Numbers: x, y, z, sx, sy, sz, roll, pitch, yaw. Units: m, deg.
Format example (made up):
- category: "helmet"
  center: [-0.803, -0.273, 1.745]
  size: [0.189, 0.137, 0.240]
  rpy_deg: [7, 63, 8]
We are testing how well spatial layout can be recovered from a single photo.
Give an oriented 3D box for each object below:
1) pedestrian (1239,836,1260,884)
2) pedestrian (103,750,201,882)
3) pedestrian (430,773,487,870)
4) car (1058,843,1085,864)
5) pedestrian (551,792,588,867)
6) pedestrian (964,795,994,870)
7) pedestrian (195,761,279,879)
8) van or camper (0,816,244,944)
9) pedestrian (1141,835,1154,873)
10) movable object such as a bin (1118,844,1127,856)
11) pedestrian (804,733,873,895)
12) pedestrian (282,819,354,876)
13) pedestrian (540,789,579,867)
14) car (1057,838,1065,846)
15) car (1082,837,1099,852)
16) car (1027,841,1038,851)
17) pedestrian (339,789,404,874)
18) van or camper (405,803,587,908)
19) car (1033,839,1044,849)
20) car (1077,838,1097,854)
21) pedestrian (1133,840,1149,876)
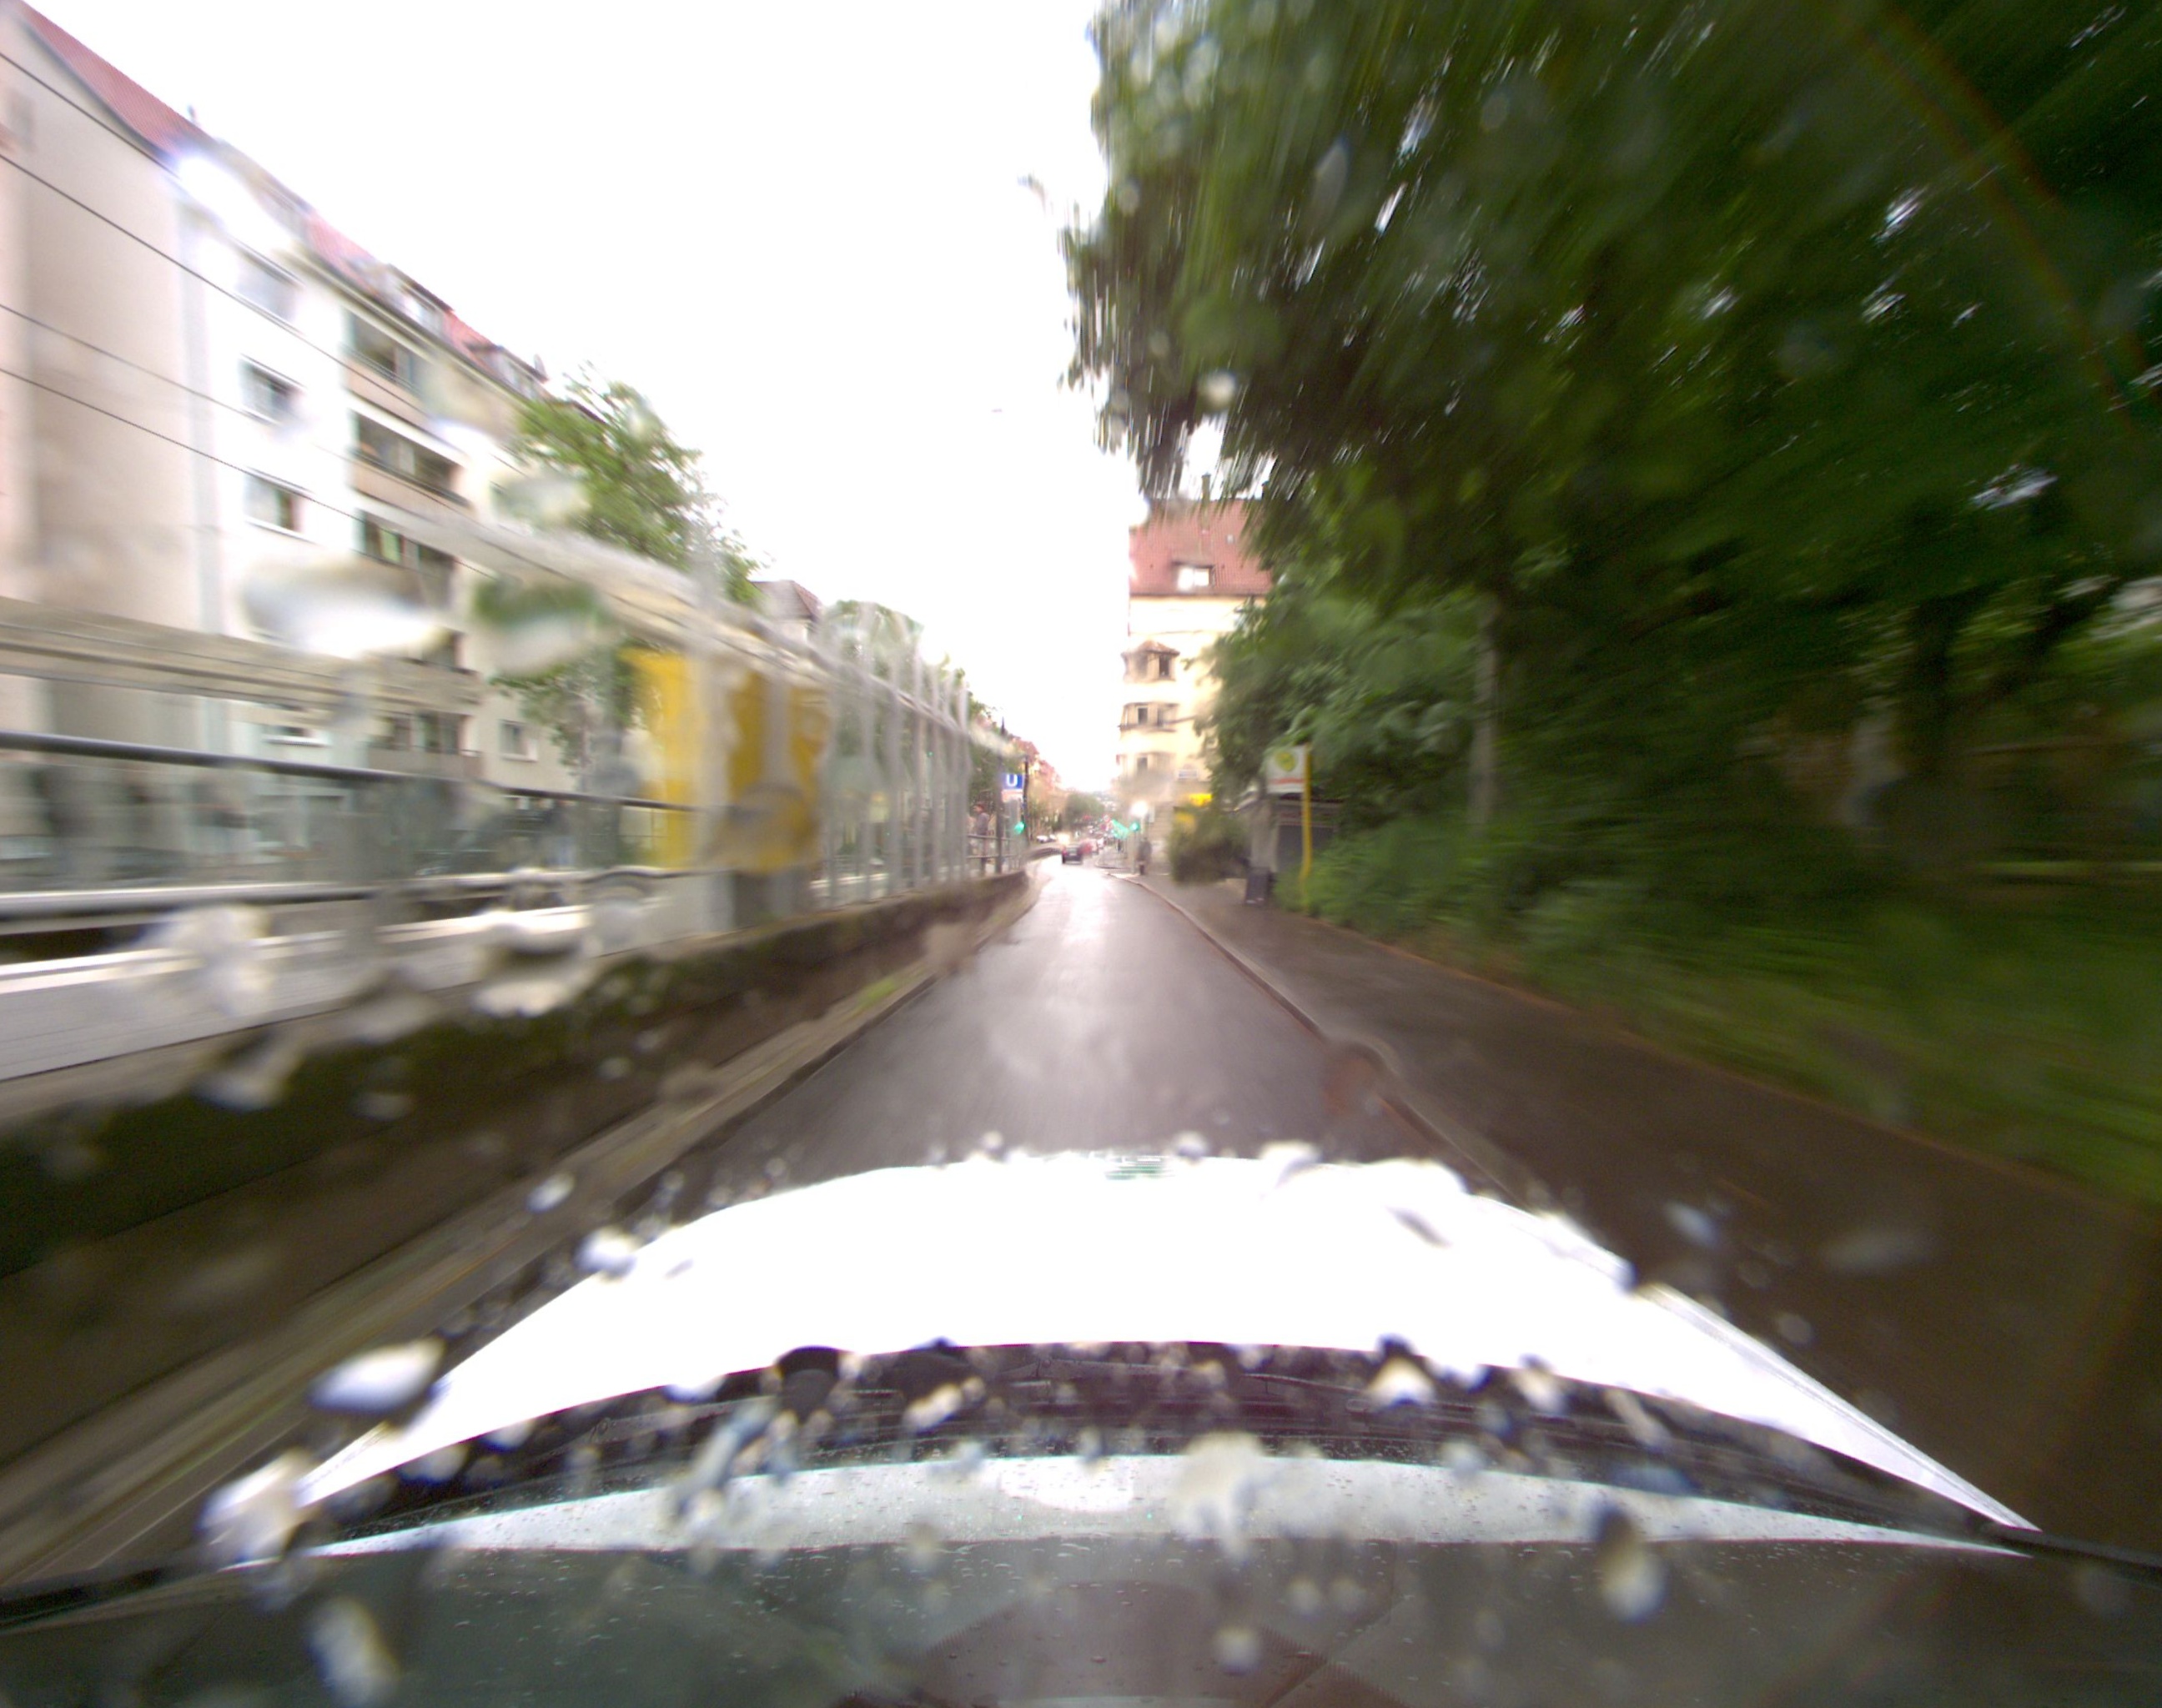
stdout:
- category: "pedestrian"
  center: [6.289, 0.228, 30.427]
  size: [0.600, 1.745, 0.614]
  rpy_deg: [2, 0, 1]
- category: "pedestrian"
  center: [-12.178, -0.485, 10.687]
  size: [0.592, 1.666, 0.591]
  rpy_deg: [-1, 0, 2]
- category: "pedestrian"
  center: [-11.547, -0.593, 15.110]
  size: [0.548, 1.741, 0.614]
  rpy_deg: [-1, 0, 2]
- category: "car"
  center: [-0.693, -0.041, 59.761]
  size: [1.845, 1.473, 4.001]
  rpy_deg: [0, 1, 1]
- category: "pedestrian"
  center: [-12.055, -0.571, 19.193]
  size: [0.480, 1.741, 0.564]
  rpy_deg: [-1, 0, 2]
- category: "pedestrian"
  center: [-2.512, -0.512, 20.108]
  size: [0.587, 1.807, 0.661]
  rpy_deg: [2, 0, 1]
- category: "pedestrian"
  center: [-12.237, -0.480, 11.818]
  size: [0.548, 1.666, 0.614]
  rpy_deg: [-1, 0, 2]
- category: "van or camper"
  center: [-17.921, 0.394, 14.417]
  size: [1.986, 2.013, 4.002]
  rpy_deg: [0, 1, 2]
- category: "pedestrian"
  center: [3.256, 0.002, 39.825]
  size: [0.552, 1.813, 0.650]
  rpy_deg: [1, 0, 0]
- category: "movable object such as a bin"
  center: [5.662, -0.581, 111.154]
  size: [1.164, 1.655, 1.308]
  rpy_deg: [-1, 1, -2]
- category: "pedestrian"
  center: [-2.923, -0.466, 9.870]
  size: [0.587, 1.881, 0.711]
  rpy_deg: [1, 0, 1]
- category: "pedestrian"
  center: [-12.141, -0.103, 12.971]
  size: [0.548, 0.872, 0.614]
  rpy_deg: [-1, 0, 2]
- category: "pedestrian"
  center: [-11.898, -0.576, 18.599]
  size: [0.480, 1.741, 0.564]
  rpy_deg: [-1, 0, 2]
- category: "car"
  center: [-5.394, -3.211, 221.054]
  size: [1.986, 2.013, 4.348]
  rpy_deg: [0, 1, 1]
- category: "car"
  center: [1.153, -1.158, 99.200]
  size: [1.942, 1.793, 4.144]
  rpy_deg: [1, 0, 1]
- category: "car"
  center: [-10.111, -1.637, 169.488]
  size: [1.986, 2.013, 4.347]
  rpy_deg: [-1, 0, 1]
- category: "pedestrian"
  center: [-12.075, -0.373, 13.870]
  size: [0.548, 1.413, 0.614]
  rpy_deg: [-1, 0, 2]
- category: "van or camper"
  center: [-17.117, 0.004, 24.213]
  size: [1.989, 2.805, 4.859]
  rpy_deg: [0, 1, -3]
- category: "car"
  center: [-9.332, -2.194, 179.505]
  size: [1.986, 2.013, 4.347]
  rpy_deg: [-1, 0, 1]
- category: "car"
  center: [0.587, -0.757, 79.553]
  size: [1.845, 1.473, 4.000]
  rpy_deg: [1, 0, 1]
- category: "pedestrian"
  center: [2.902, 0.188, 39.206]
  size: [0.693, 1.695, 0.555]
  rpy_deg: [1, 0, -1]
